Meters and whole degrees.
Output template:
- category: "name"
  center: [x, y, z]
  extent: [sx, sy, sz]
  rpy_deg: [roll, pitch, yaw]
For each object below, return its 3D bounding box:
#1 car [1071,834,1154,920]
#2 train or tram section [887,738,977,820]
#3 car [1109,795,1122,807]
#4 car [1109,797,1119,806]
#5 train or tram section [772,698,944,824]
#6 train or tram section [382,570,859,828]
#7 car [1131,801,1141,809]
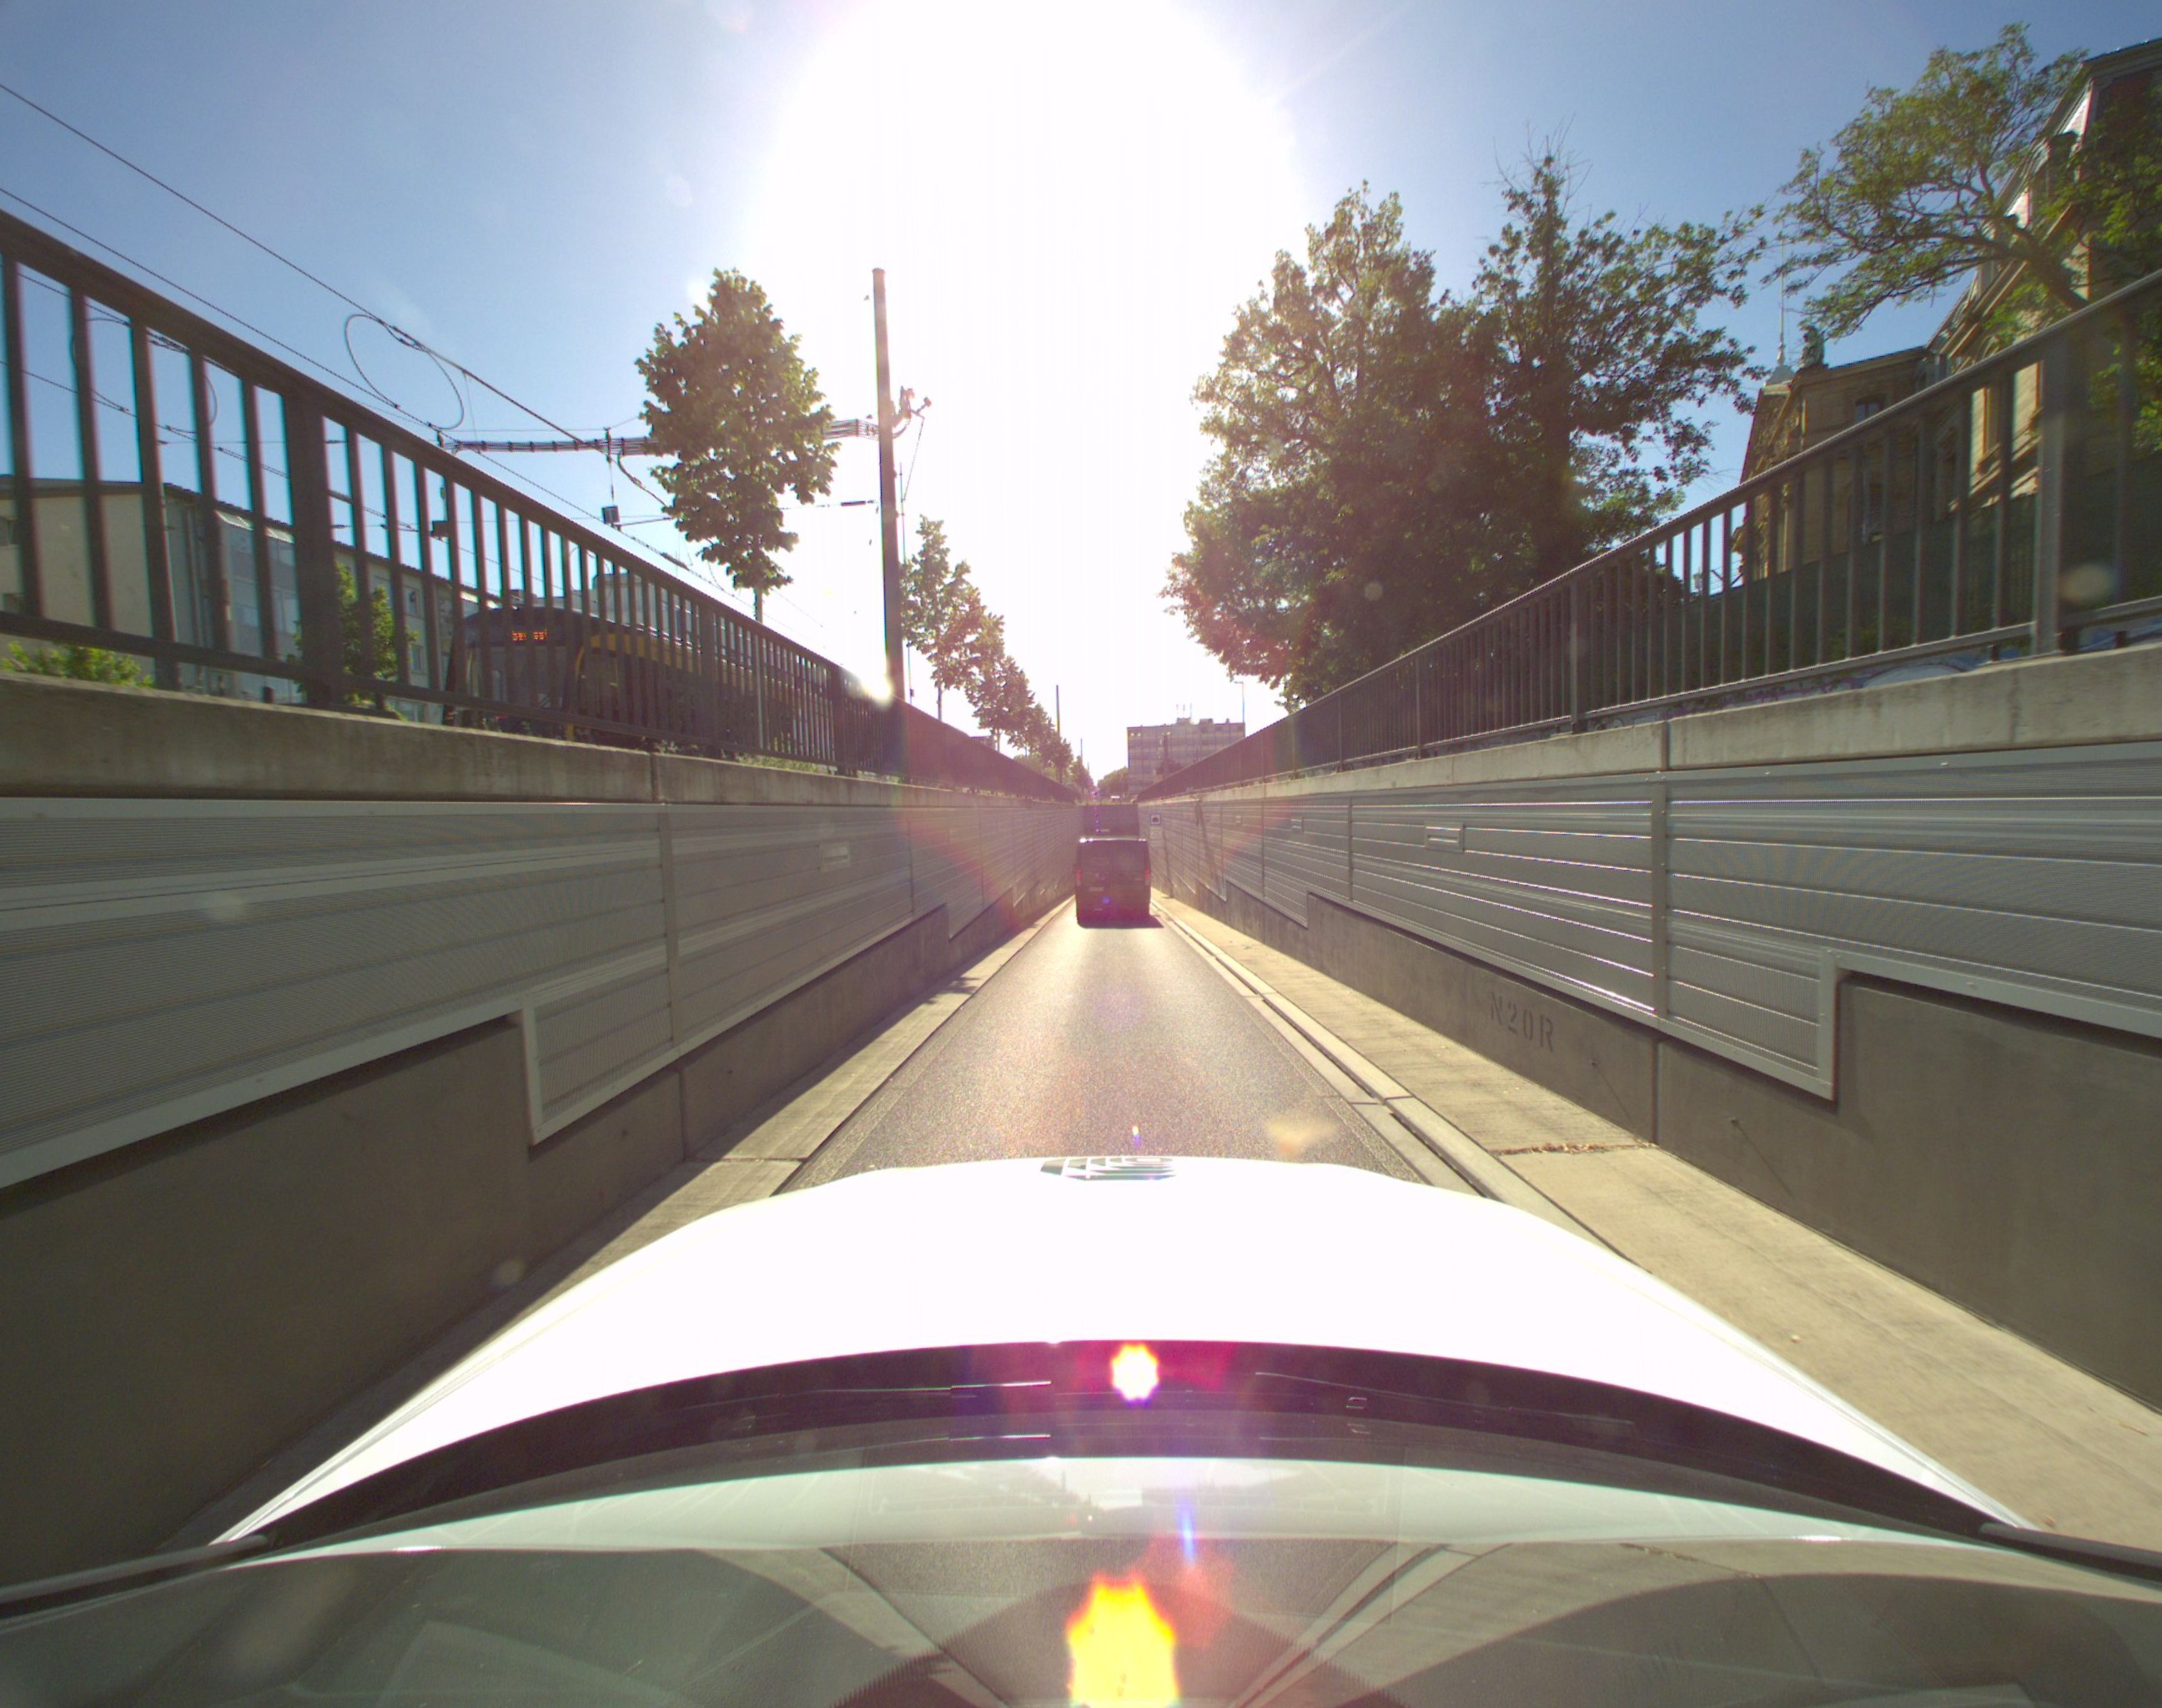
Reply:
- category: "car"
  center: [0.937, 0.641, 23.773]
  extent: [2.150, 2.266, 4.639]
  rpy_deg: [-1, -1, 2]
- category: "train or tram section"
  center: [-7.579, -3.717, 42.987]
  extent: [2.602, 3.853, 9.977]
  rpy_deg: [0, 3, 2]
- category: "car"
  center: [4.980, -7.618, 116.990]
  extent: [1.734, 1.561, 4.002]
  rpy_deg: [-2, 3, 1]
- category: "car"
  center: [5.866, -9.264, 144.802]
  extent: [1.734, 1.561, 4.002]
  rpy_deg: [-2, 3, 1]
- category: "train or tram section"
  center: [-7.927, -3.134, 31.468]
  extent: [2.601, 3.820, 13.099]
  rpy_deg: [0, 3, 2]
- category: "train or tram section"
  center: [-8.378, -2.496, 18.285]
  extent: [2.600, 3.655, 13.353]
  rpy_deg: [0, 3, 2]
- category: "car"
  center: [10.506, -9.425, 156.311]
  extent: [1.734, 1.421, 4.002]
  rpy_deg: [-2, 3, 1]
